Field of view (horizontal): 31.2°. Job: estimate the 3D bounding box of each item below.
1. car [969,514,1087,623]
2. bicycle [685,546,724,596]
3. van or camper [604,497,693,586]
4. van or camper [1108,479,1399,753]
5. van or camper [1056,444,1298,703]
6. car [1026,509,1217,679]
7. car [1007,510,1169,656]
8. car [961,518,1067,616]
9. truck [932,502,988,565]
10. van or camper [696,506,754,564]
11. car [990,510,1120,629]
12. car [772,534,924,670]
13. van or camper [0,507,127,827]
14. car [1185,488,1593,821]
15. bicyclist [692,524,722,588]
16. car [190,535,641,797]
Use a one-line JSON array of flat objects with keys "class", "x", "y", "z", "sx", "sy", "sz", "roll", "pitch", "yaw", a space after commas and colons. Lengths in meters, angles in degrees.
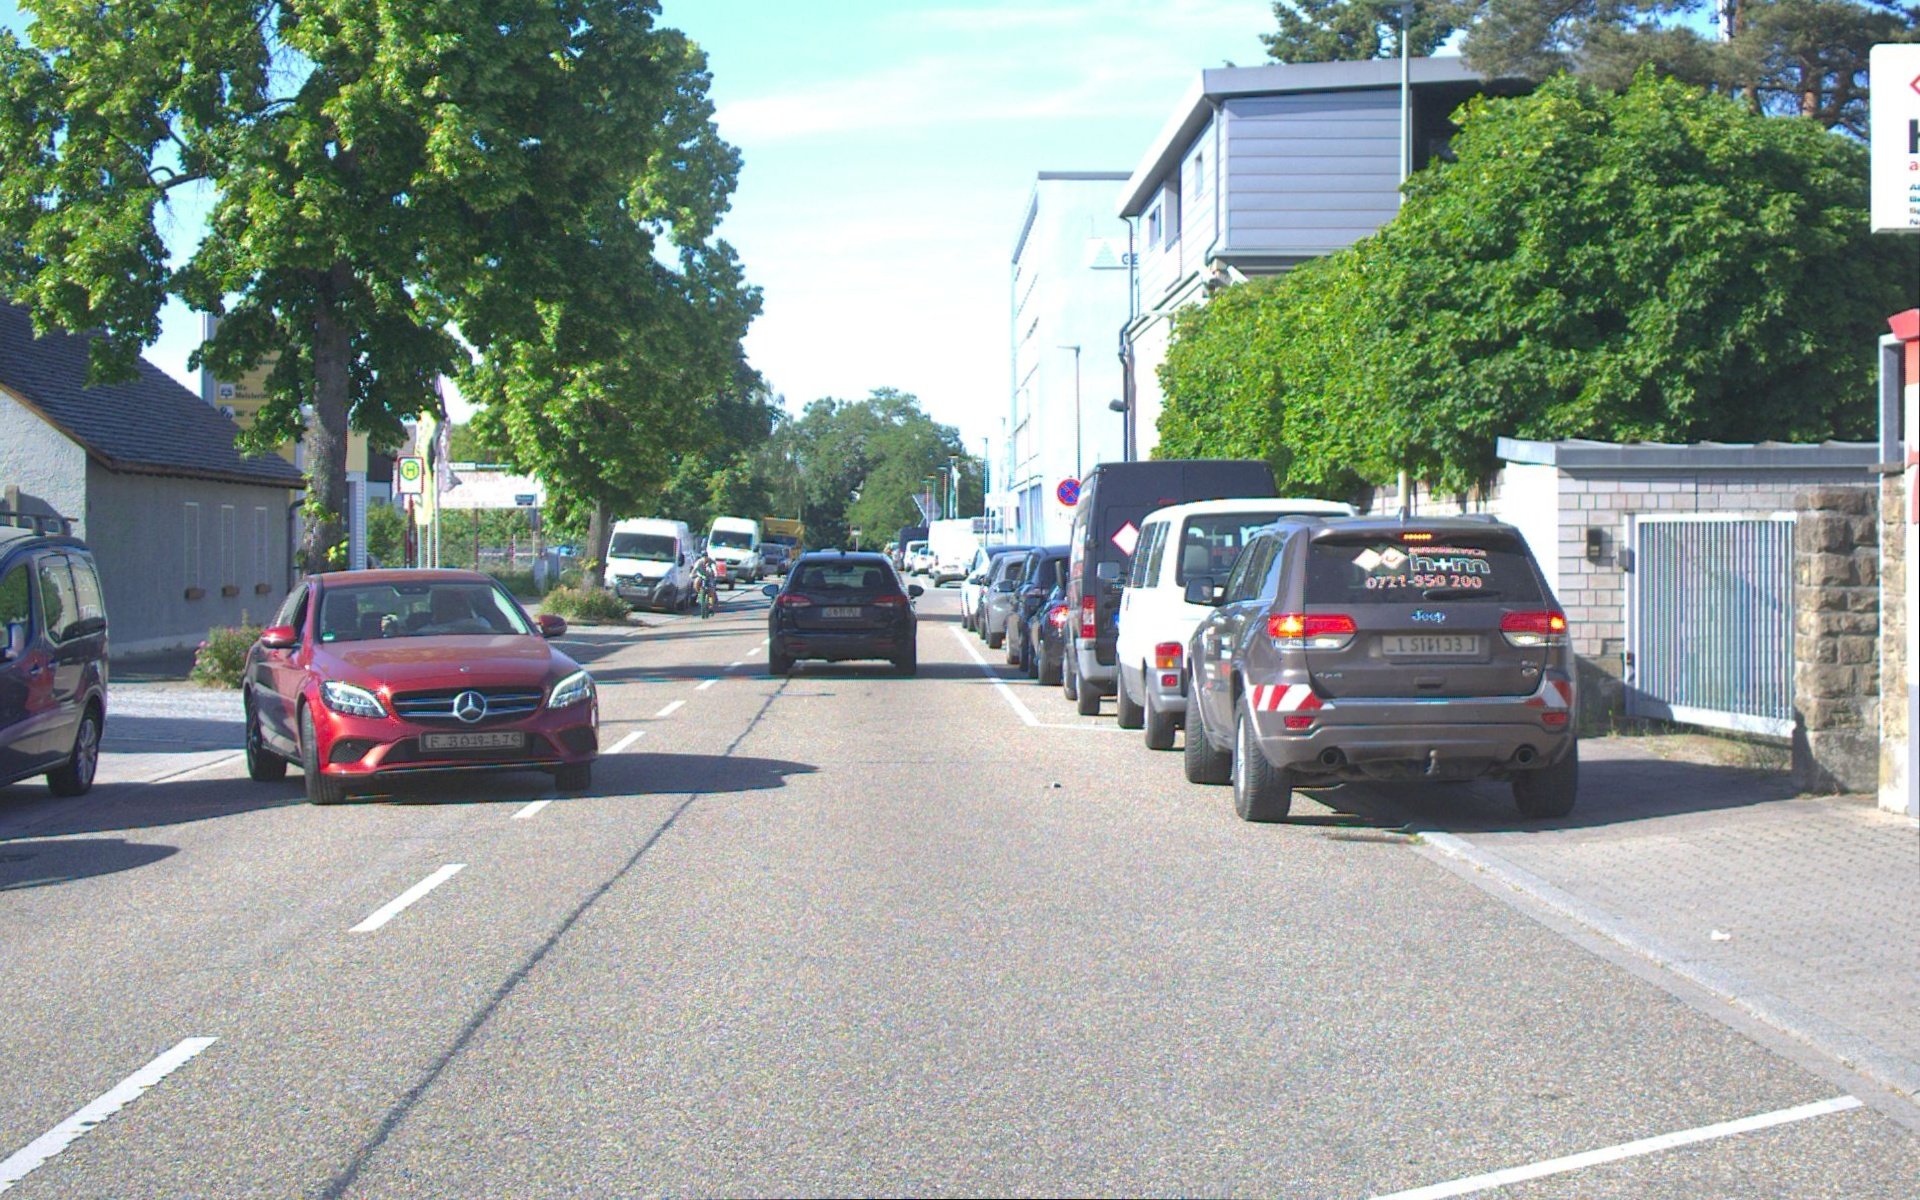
[{"class": "car", "x": 1.146, "y": -0.575, "z": 59.805, "sx": 1.919, "sy": 1.819, "sz": 4.080, "roll": 0, "pitch": 1, "yaw": -1}, {"class": "bicycle", "x": -6.112, "y": -0.708, "z": 82.439, "sx": 0.829, "sy": 1.149, "sz": 2.941, "roll": 0, "pitch": 1, "yaw": -2}, {"class": "van or camper", "x": -8.479, "y": -1.617, "z": 93.925, "sx": 2.323, "sy": 2.354, "sz": 6.530, "roll": 0, "pitch": 1, "yaw": -5}, {"class": "van or camper", "x": 2.252, "y": 0.067, "z": 27.358, "sx": 1.919, "sy": 2.012, "sz": 4.080, "roll": 0, "pitch": 1, "yaw": -1}, {"class": "van or camper", "x": 1.987, "y": -0.283, "z": 32.554, "sx": 1.993, "sy": 2.302, "sz": 4.000, "roll": 0, "pitch": 1, "yaw": -1}, {"class": "car", "x": 1.778, "y": -0.112, "z": 38.963, "sx": 1.919, "sy": 1.819, "sz": 4.080, "roll": 0, "pitch": 1, "yaw": -1}, {"class": "car", "x": 1.629, "y": -0.259, "z": 44.960, "sx": 1.919, "sy": 1.819, "sz": 4.080, "roll": 0, "pitch": 1, "yaw": -1}, {"class": "car", "x": 1.006, "y": -0.663, "z": 66.283, "sx": 1.919, "sy": 1.819, "sz": 4.080, "roll": 0, "pitch": 1, "yaw": -1}, {"class": "truck", "x": -0.025, "y": -2.460, "z": 126.427, "sx": 1.993, "sy": 2.280, "sz": 6.956, "roll": 0, "pitch": 1, "yaw": -1}, {"class": "van or camper", "x": -9.822, "y": -2.743, "z": 143.491, "sx": 2.323, "sy": 2.354, "sz": 6.530, "roll": 0, "pitch": 1, "yaw": -5}, {"class": "car", "x": 1.482, "y": -0.517, "z": 54.866, "sx": 1.919, "sy": 1.819, "sz": 4.080, "roll": 0, "pitch": 1, "yaw": -1}, {"class": "car", "x": -1.330, "y": -0.008, "z": 42.077, "sx": 1.711, "sy": 1.527, "sz": 3.688, "roll": -1, "pitch": 2, "yaw": 0}, {"class": "van or camper", "x": -6.700, "y": 0.406, "z": 21.496, "sx": 1.891, "sy": 1.919, "sz": 4.266, "roll": -1, "pitch": 1, "yaw": 0}, {"class": "car", "x": 2.487, "y": 0.250, "z": 20.884, "sx": 1.919, "sy": 1.819, "sz": 4.080, "roll": 0, "pitch": 1, "yaw": -1}, {"class": "bicyclist", "x": -6.084, "y": -1.056, "z": 82.699, "sx": 0.695, "sy": 1.534, "sz": 0.635, "roll": 0, "pitch": 1, "yaw": -3}, {"class": "car", "x": -3.686, "y": 0.351, "z": 22.684, "sx": 1.875, "sy": 1.480, "sz": 4.045, "roll": -3, "pitch": 2, "yaw": -25}]
